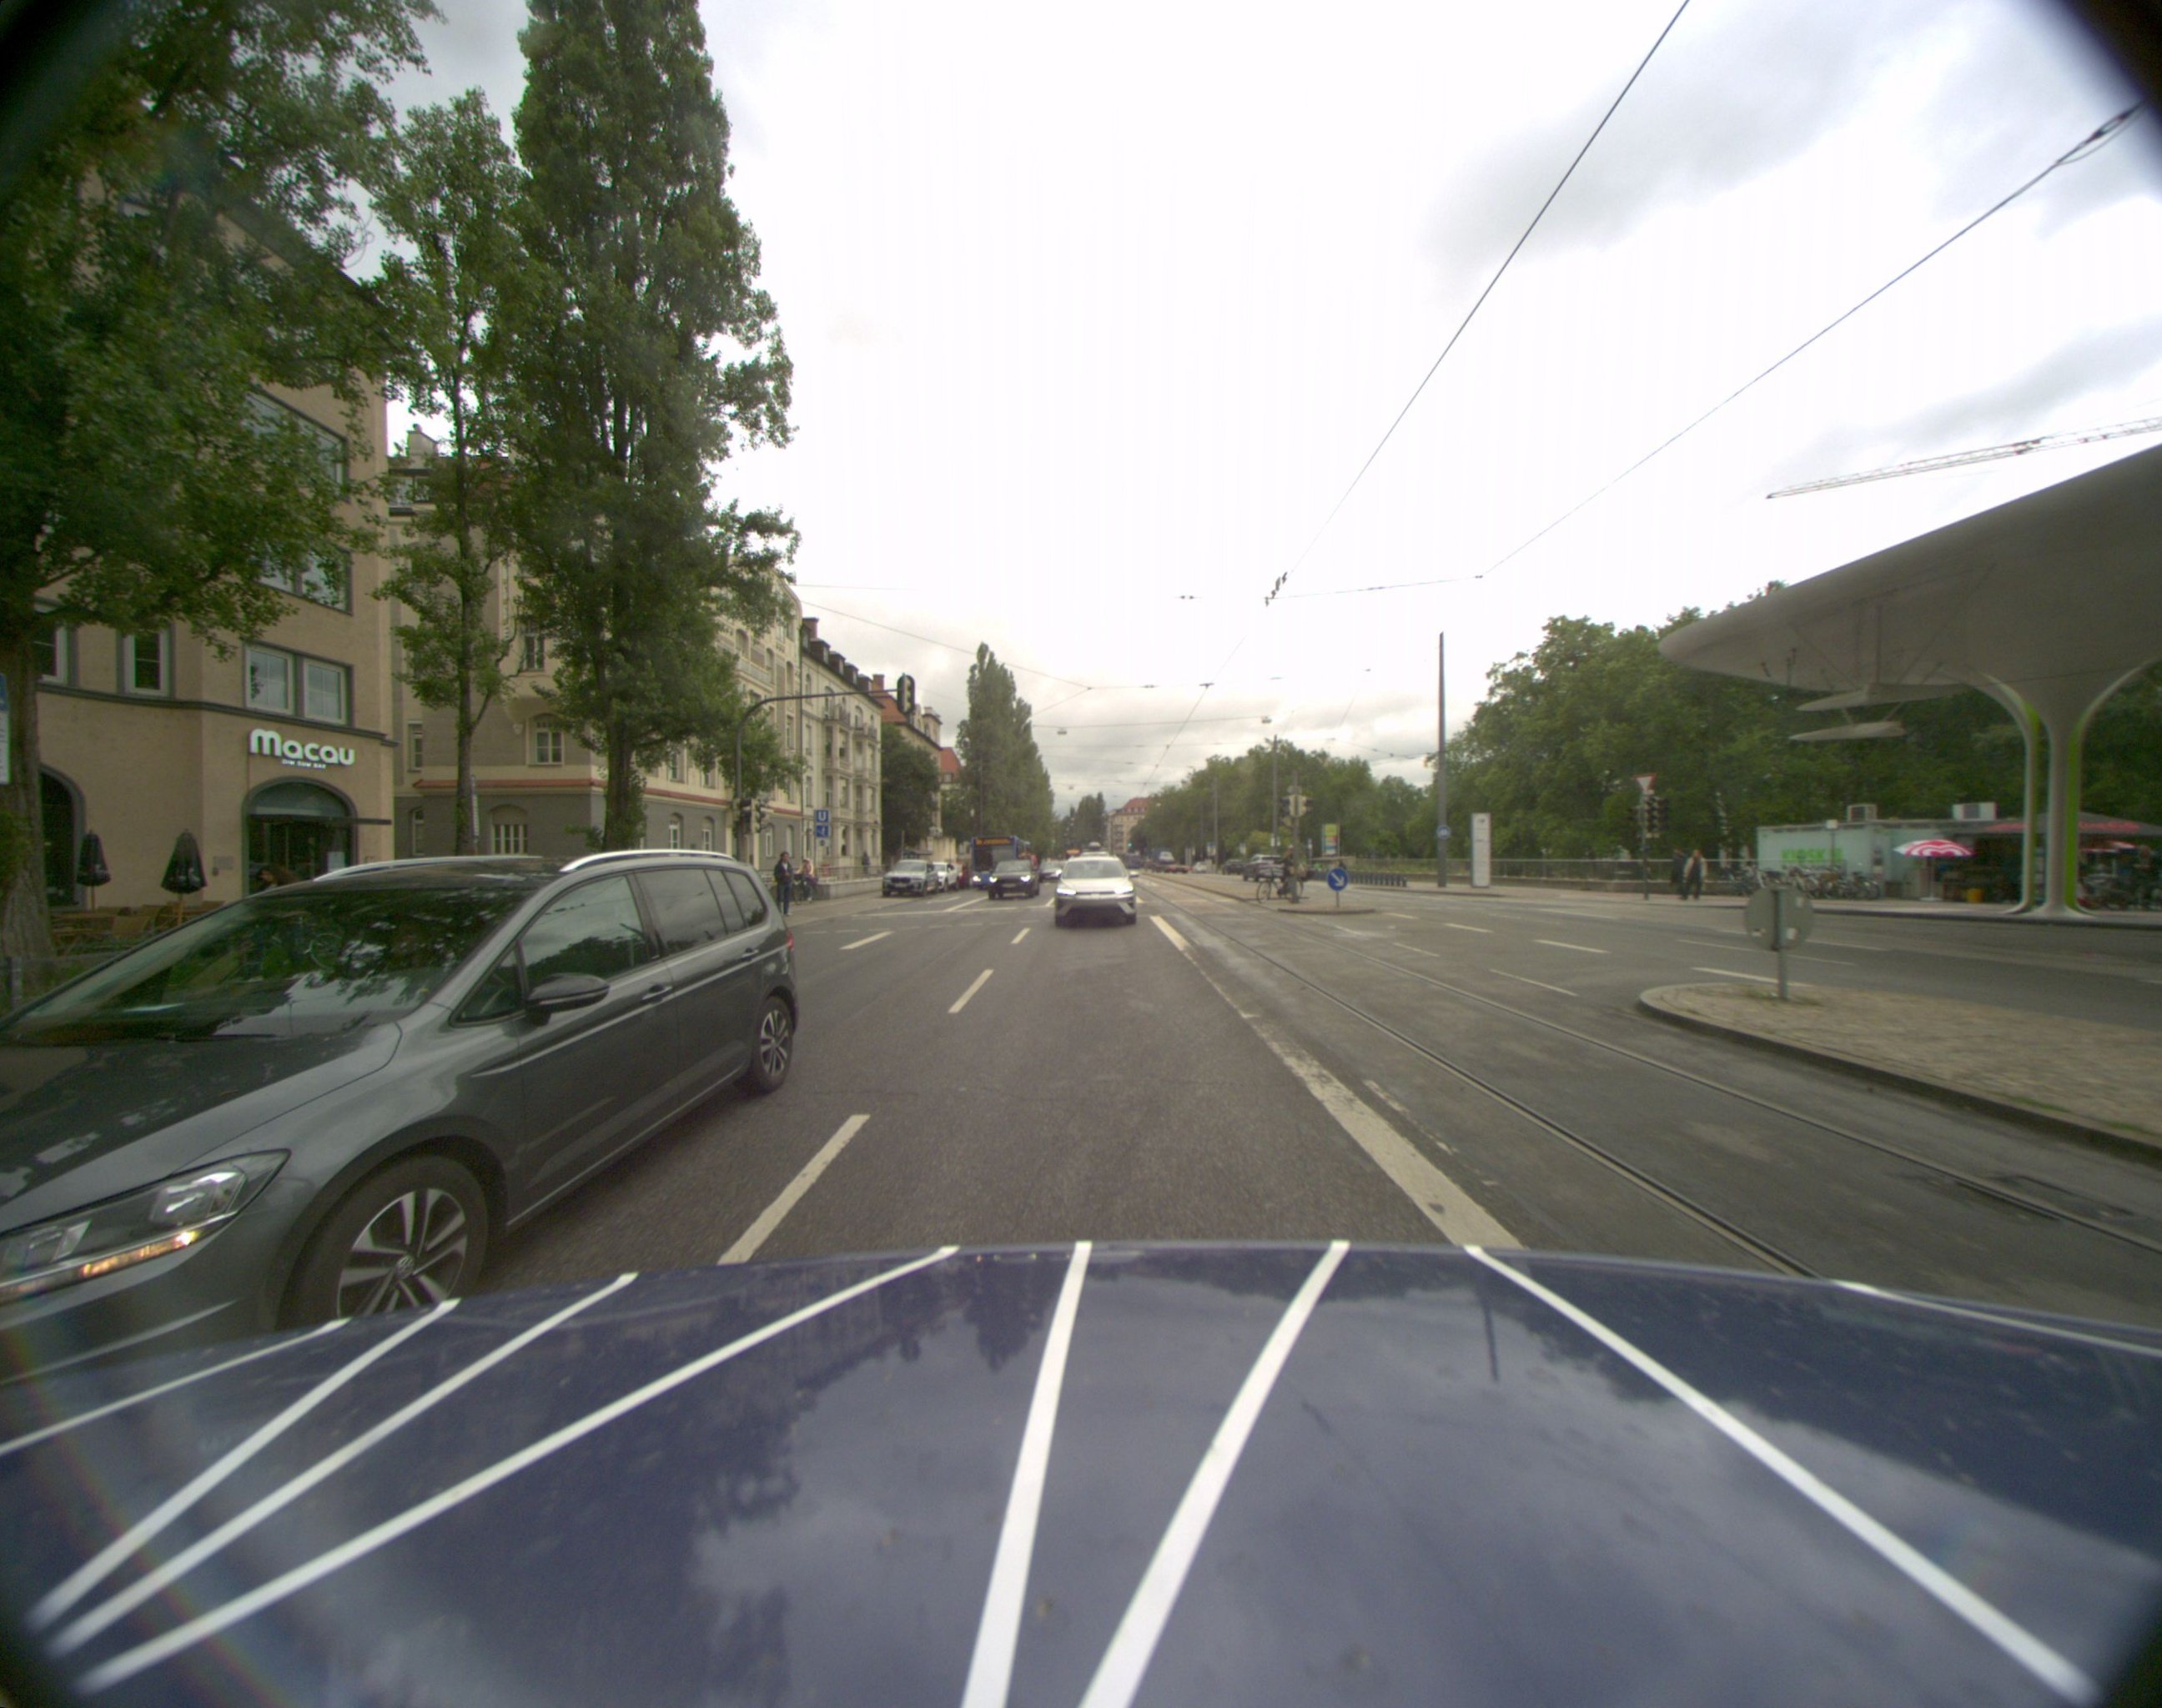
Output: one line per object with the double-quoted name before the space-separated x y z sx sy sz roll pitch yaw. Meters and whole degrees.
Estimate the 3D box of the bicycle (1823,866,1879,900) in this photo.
"bicycle" 26.650 0.982 26.317 0.479 1.090 1.851 0 0 15

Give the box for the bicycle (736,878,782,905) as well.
"bicycle" -13.018 1.503 30.773 0.391 1.017 1.842 -1 1 28

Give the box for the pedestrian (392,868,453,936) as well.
"pedestrian" -15.984 1.145 18.459 0.847 1.593 0.824 0 1 26

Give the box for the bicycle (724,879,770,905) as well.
"bicycle" -13.558 1.527 30.881 0.391 0.972 1.842 -1 1 28

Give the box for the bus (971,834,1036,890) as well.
"bus" -4.500 0.462 46.067 2.637 2.956 9.467 -2 0 1

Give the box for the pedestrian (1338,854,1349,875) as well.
"pedestrian" 19.432 0.804 56.225 0.632 1.549 0.589 0 1 0

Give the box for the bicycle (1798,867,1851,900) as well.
"bicycle" 25.930 1.014 26.528 0.479 1.090 1.851 0 0 15

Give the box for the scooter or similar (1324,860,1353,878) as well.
"scooter or similar" 17.185 0.988 50.718 1.692 1.165 0.562 0 0 -1

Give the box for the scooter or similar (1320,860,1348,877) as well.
"scooter or similar" 17.260 0.984 51.901 1.692 1.165 0.562 0 0 -1

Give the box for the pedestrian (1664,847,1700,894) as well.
"pedestrian" 22.243 0.606 28.138 0.735 1.706 0.861 0 1 12

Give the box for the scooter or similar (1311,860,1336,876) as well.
"scooter or similar" 17.246 0.983 54.082 1.695 1.165 0.561 0 0 -18

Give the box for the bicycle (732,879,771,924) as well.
"bicycle" -8.760 1.240 20.172 0.360 1.096 1.740 -1 1 -43

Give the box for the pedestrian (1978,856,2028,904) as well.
"pedestrian" 31.112 0.852 25.652 0.739 1.591 0.798 0 1 16

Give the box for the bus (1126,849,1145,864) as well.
"bus" 11.104 0.438 155.400 2.632 2.949 13.415 1 0 -1

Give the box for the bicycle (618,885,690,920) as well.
"bicycle" -12.221 1.384 21.757 1.837 0.911 0.392 -2 1 2

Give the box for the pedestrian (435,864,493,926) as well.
"pedestrian" -17.196 1.121 21.198 0.748 1.675 1.017 0 1 1

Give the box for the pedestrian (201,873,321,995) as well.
"pedestrian" -10.995 1.050 10.214 0.761 1.553 0.763 -1 0 3

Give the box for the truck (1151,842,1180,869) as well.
"truck" 10.294 0.177 93.426 2.572 3.069 7.690 1 0 -1

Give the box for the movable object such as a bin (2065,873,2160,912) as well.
"movable object such as a bin" 29.321 1.087 21.617 1.336 1.078 0.957 0 0 4

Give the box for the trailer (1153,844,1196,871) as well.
"trailer" 10.398 0.350 86.540 2.617 2.666 15.637 1 0 -1

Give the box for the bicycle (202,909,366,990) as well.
"bicycle" -11.443 1.337 10.996 0.590 0.959 1.653 0 0 1

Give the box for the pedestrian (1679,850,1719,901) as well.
"pedestrian" 20.021 0.693 24.620 0.739 1.619 0.741 -1 1 -20

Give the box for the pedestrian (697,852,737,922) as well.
"pedestrian" -9.372 0.842 19.565 0.699 1.770 0.652 -1 0 35

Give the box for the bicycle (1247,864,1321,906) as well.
"bicycle" 6.100 0.923 22.800 2.233 1.144 0.505 -2 1 -19

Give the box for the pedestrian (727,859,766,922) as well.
"pedestrian" -8.905 0.962 20.238 0.758 1.628 0.699 -1 0 -42

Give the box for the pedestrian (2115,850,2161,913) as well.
"pedestrian" 30.482 0.752 21.525 1.031 1.752 0.957 0 1 4

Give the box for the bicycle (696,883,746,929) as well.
"bicycle" -9.230 1.320 19.471 1.740 1.096 0.360 0 1 36

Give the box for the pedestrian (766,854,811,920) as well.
"pedestrian" -8.148 0.917 21.201 0.881 1.791 0.757 -1 0 12

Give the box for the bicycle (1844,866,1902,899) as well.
"bicycle" 27.201 0.958 26.122 0.479 1.090 1.851 0 0 15

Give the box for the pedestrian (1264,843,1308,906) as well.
"pedestrian" 6.090 0.584 22.632 0.862 1.801 0.895 -2 1 -22

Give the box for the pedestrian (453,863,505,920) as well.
"pedestrian" -18.479 1.135 23.358 0.748 1.704 1.017 0 1 1

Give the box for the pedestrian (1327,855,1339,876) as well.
"pedestrian" 18.622 0.840 56.152 0.632 1.549 0.589 0 1 0

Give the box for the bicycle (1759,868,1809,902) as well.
"bicycle" 24.720 1.067 26.744 0.479 1.090 1.851 0 0 15

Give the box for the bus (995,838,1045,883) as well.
"bus" -4.291 0.445 55.065 2.637 2.956 8.534 -2 0 1

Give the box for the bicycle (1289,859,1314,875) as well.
"bicycle" 16.744 1.003 57.711 1.693 1.165 0.561 0 0 -9
